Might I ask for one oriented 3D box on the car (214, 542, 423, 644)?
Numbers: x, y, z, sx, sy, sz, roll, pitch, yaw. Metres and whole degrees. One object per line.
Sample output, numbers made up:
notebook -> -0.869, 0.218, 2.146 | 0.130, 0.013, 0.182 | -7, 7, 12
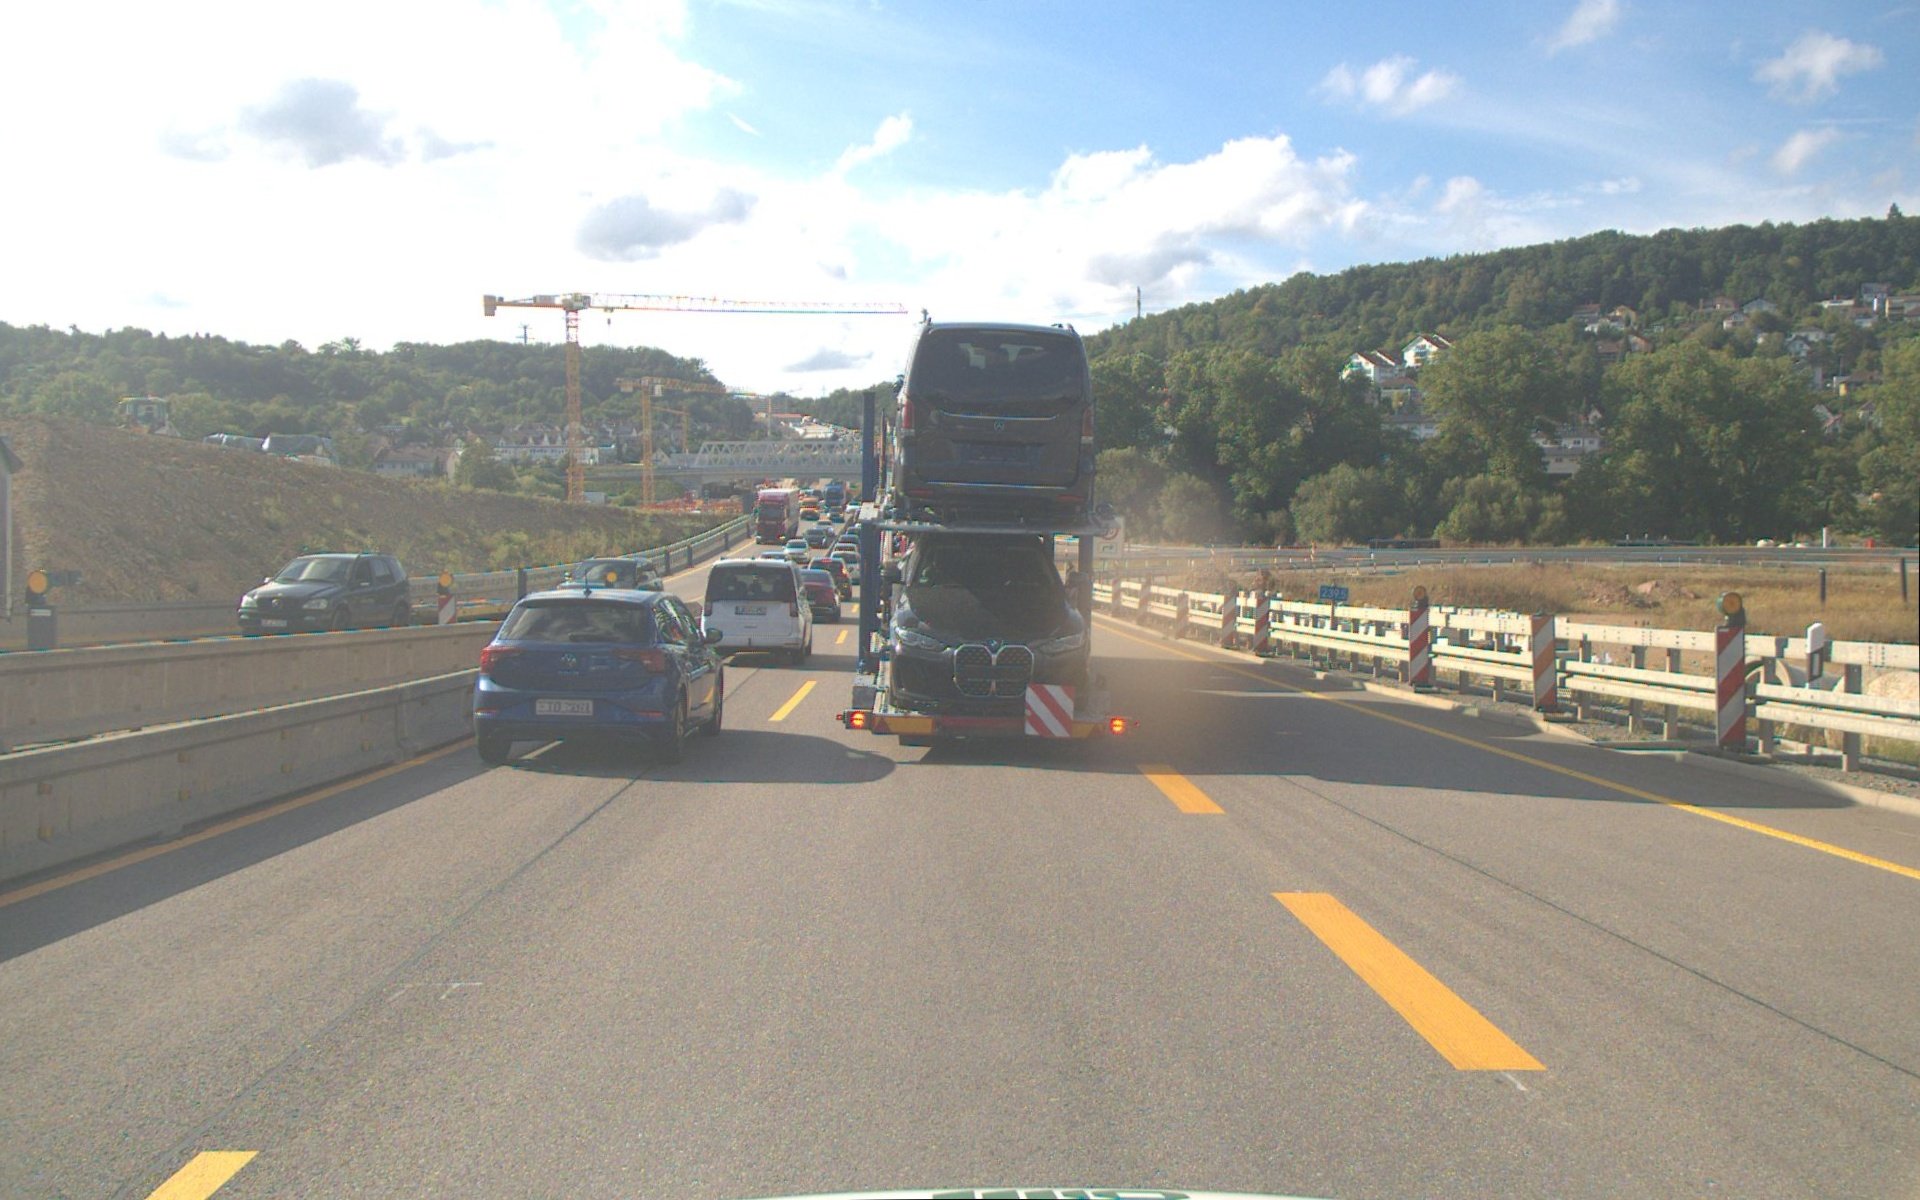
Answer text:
car -> -12.477, -0.151, 32.500 | 1.951, 1.835, 4.448 | 1, 1, 7

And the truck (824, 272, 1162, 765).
truck -> -0.133, -0.806, 23.306 | 2.698, 4.023, 18.881 | 2, 1, -3

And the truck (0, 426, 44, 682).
truck -> -14.428, -0.663, 19.070 | 2.643, 3.369, 7.543 | 1, -1, 8

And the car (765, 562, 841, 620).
car -> -4.544, -0.234, 48.424 | 1.953, 1.584, 4.399 | 1, 0, -2

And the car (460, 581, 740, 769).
car -> -3.101, 0.599, 15.033 | 1.687, 1.447, 3.999 | 1, 0, -1

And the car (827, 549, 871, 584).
car -> -5.507, -1.676, 82.390 | 1.953, 1.695, 4.000 | 1, 1, -1

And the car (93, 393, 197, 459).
car -> -35.563, -7.544, 72.335 | 1.954, 2.177, 5.319 | -4, 0, -3

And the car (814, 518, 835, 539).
car -> -12.131, -6.391, 148.240 | 1.808, 1.677, 4.501 | 1, 1, -5

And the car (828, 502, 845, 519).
car -> -13.591, -9.803, 182.105 | 1.808, 1.677, 4.233 | 1, 1, -4

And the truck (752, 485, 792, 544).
truck -> -15.200, -6.870, 133.940 | 2.857, 4.463, 6.281 | 2, 1, -5

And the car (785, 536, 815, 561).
car -> -10.246, -3.291, 106.085 | 1.719, 1.465, 3.803 | 1, 1, -2

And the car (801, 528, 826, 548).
car -> -11.402, -4.800, 128.903 | 1.785, 1.465, 4.611 | 1, 1, -4

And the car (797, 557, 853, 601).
car -> -5.261, -0.800, 64.795 | 1.953, 1.579, 3.999 | 1, 0, -2

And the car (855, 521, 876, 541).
car -> -8.706, -6.345, 151.727 | 1.808, 1.677, 4.501 | 1, 1, -4

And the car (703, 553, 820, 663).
car -> -3.522, 0.150, 29.927 | 1.786, 1.823, 3.998 | 1, 0, -3

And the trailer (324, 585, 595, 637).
trailer -> -11.652, 0.179, 39.863 | 2.302, 0.956, 10.337 | 1, 1, 7

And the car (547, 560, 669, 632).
car -> -8.735, -0.123, 41.449 | 1.814, 1.664, 4.751 | 1, 1, 3

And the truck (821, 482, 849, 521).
truck -> -18.489, -14.489, 245.428 | 2.764, 4.872, 13.056 | 1, 0, 1

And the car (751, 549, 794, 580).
car -> -9.379, -1.762, 82.908 | 1.815, 1.465, 4.556 | 1, 1, -2
